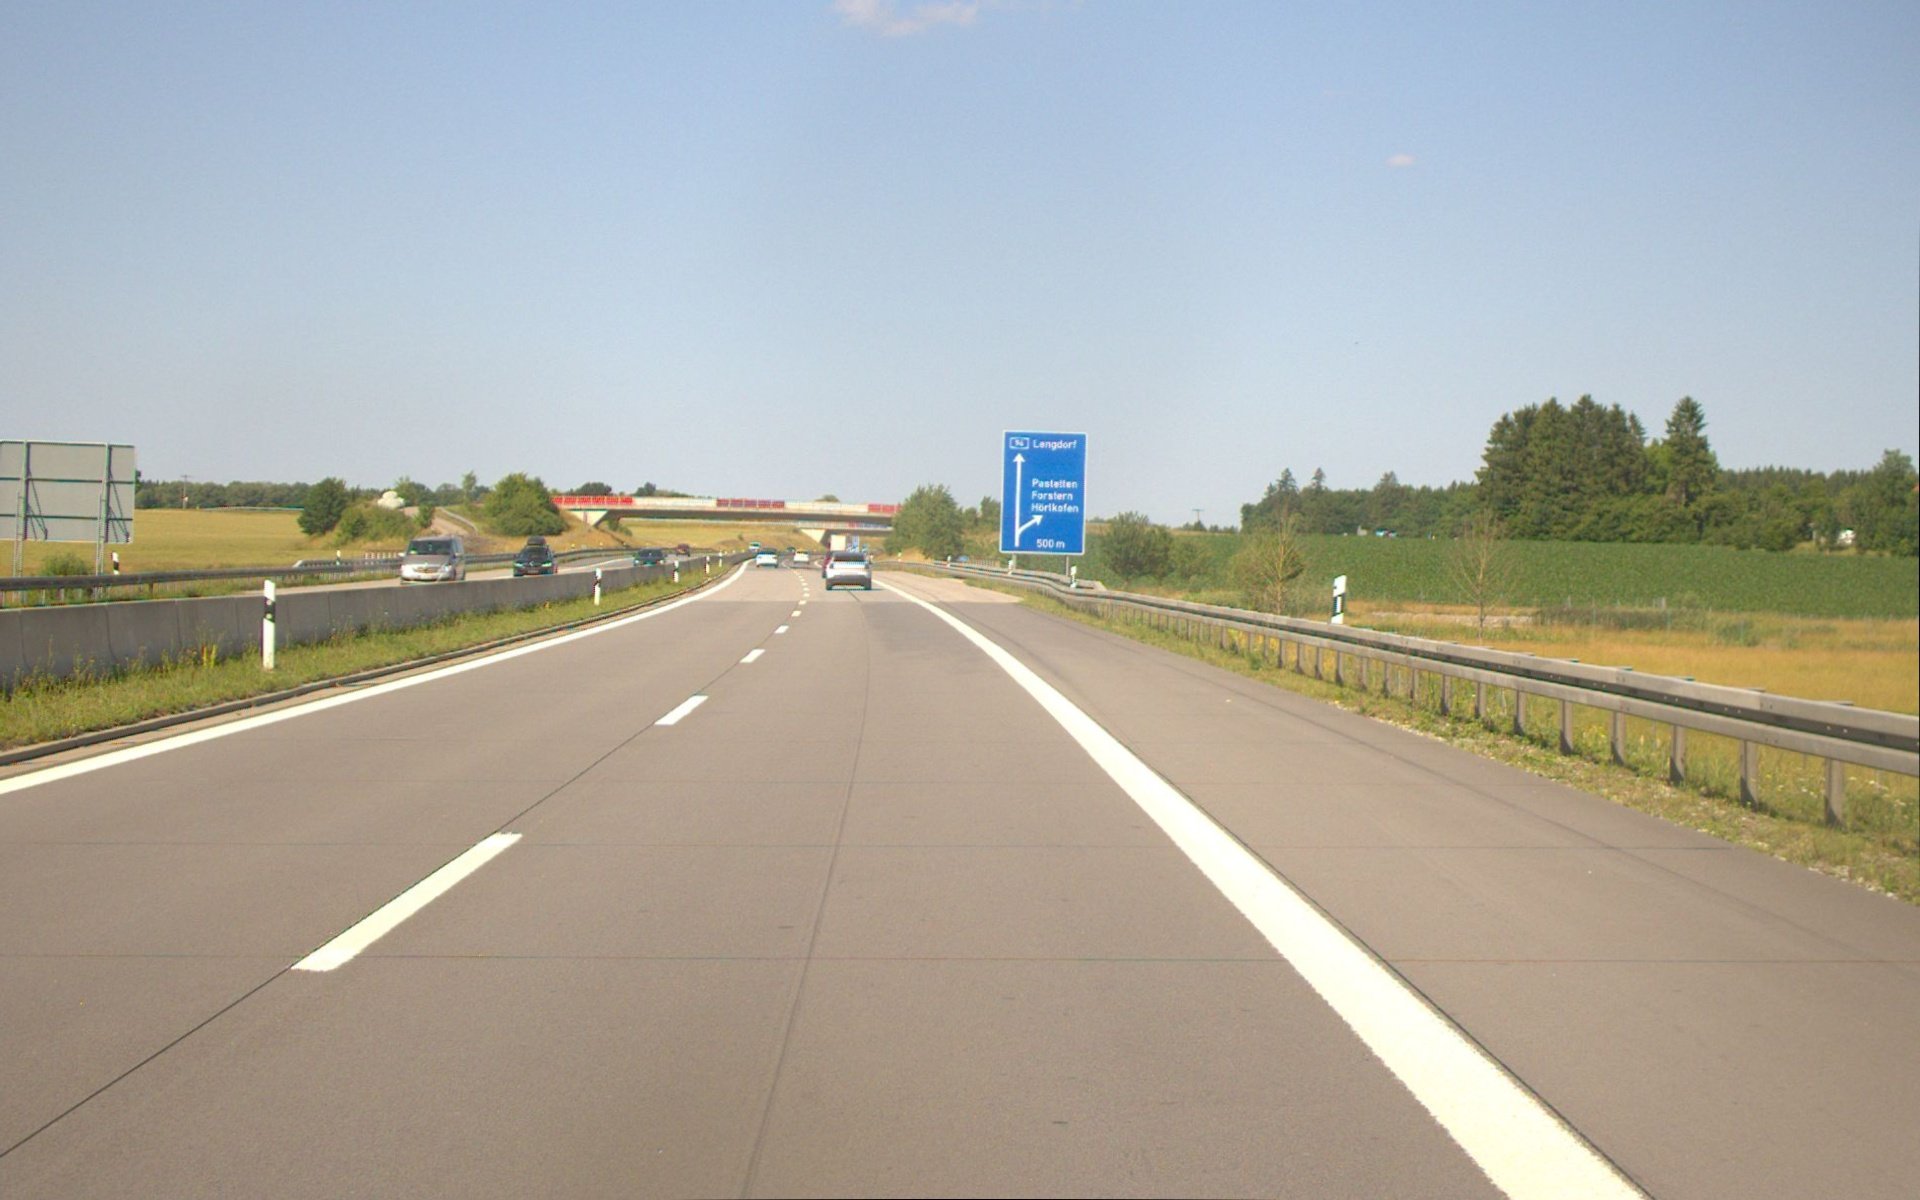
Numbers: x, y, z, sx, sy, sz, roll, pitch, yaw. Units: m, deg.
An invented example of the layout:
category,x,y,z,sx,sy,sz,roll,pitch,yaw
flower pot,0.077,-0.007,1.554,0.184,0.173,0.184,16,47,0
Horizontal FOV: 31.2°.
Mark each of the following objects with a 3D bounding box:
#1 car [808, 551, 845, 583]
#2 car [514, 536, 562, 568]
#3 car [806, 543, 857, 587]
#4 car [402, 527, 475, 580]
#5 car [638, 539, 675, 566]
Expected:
category,x,y,z,sx,sy,sz,roll,pitch,yaw
car,-7.447,-1.863,192.023,1.993,1.725,4.870,1,1,-2
car,-20.180,-2.305,164.464,1.897,1.518,4.806,0,1,-2
car,-5.276,-1.449,140.254,1.993,1.725,4.870,1,1,-3
car,-18.475,-1.675,121.945,1.954,1.835,5.450,0,1,-2
car,-17.516,-2.762,198.458,1.897,1.518,4.806,0,1,-2
